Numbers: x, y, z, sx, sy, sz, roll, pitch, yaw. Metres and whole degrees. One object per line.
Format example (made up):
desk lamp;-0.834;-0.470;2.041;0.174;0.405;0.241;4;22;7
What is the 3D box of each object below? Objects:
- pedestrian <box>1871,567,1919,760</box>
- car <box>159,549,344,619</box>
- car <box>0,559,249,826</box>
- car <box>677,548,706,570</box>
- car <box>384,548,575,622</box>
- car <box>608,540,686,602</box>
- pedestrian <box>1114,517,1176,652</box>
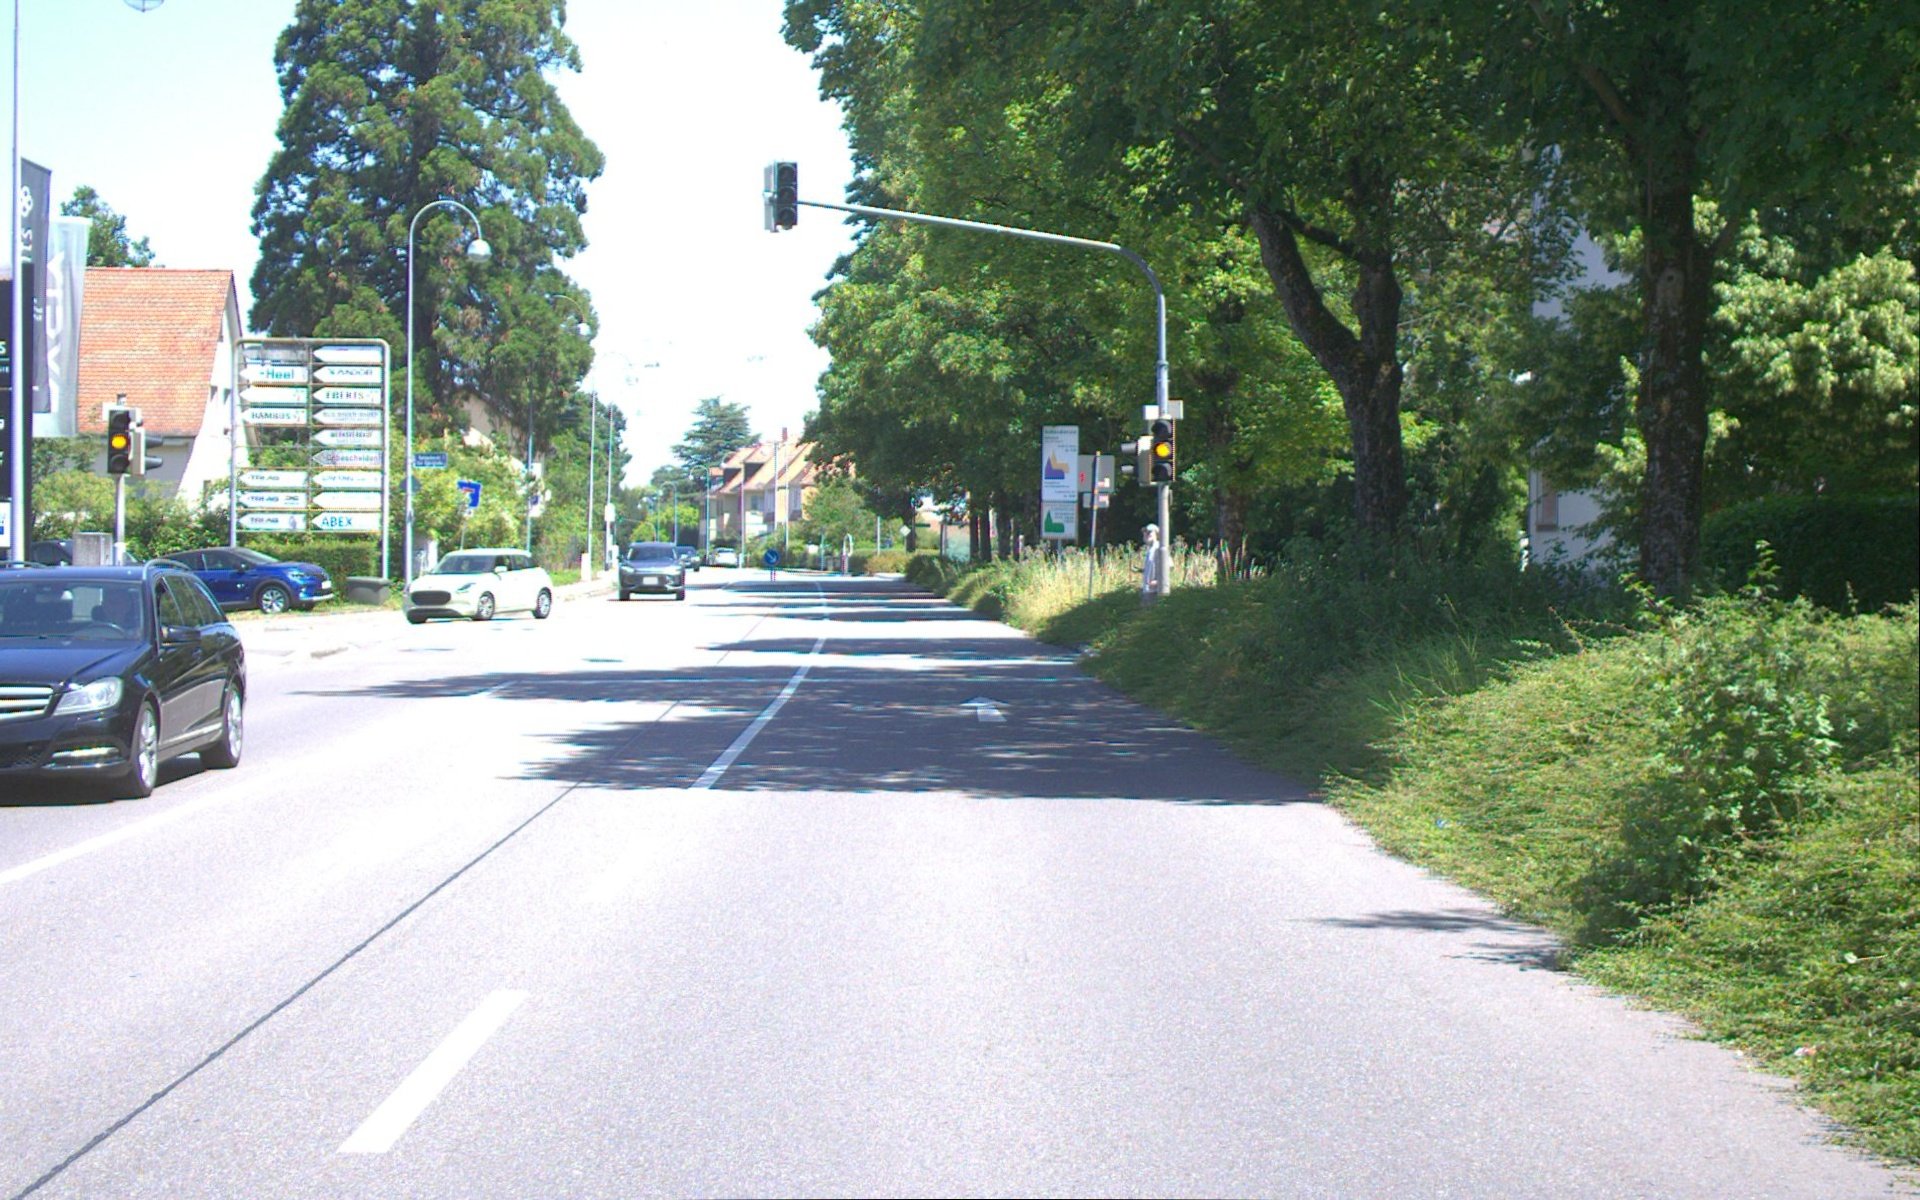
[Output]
pedestrian;6.850;0.434;24.127;0.661;1.330;0.889;0;0;0
car;-14.931;-0.350;72.506;3.491;1.422;1.600;1;1;7
car;-5.850;0.512;22.133;1.710;1.490;4.278;0;1;-1
car;-15.920;-2.426;204.065;1.431;1.318;3.355;0;0;0
car;-9.879;-0.328;71.006;1.996;1.482;4.304;0;1;23
car;-8.894;-0.835;97.965;1.879;1.712;4.310;0;1;-1
pedestrian;2.418;-0.207;44.804;0.561;1.745;0.614;1;0;33
